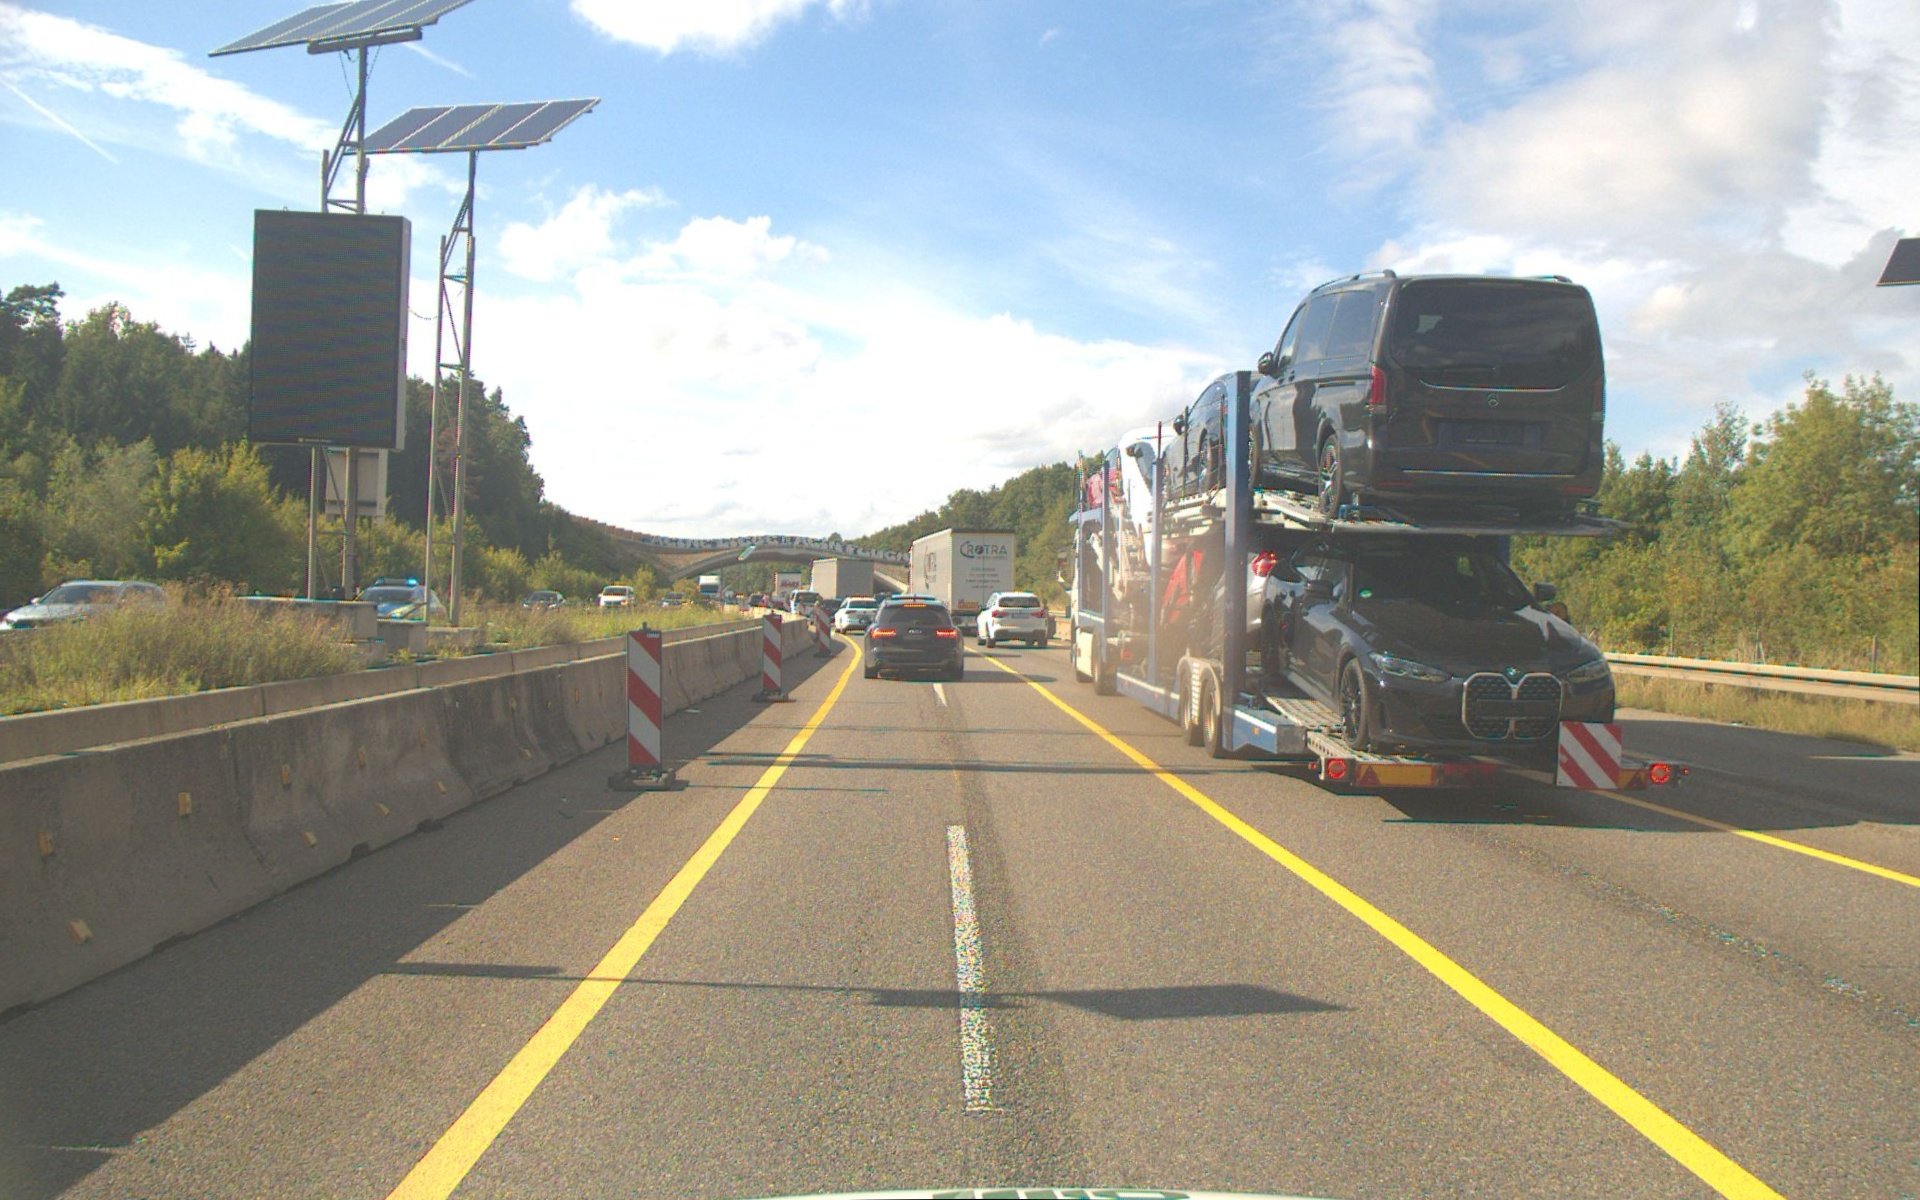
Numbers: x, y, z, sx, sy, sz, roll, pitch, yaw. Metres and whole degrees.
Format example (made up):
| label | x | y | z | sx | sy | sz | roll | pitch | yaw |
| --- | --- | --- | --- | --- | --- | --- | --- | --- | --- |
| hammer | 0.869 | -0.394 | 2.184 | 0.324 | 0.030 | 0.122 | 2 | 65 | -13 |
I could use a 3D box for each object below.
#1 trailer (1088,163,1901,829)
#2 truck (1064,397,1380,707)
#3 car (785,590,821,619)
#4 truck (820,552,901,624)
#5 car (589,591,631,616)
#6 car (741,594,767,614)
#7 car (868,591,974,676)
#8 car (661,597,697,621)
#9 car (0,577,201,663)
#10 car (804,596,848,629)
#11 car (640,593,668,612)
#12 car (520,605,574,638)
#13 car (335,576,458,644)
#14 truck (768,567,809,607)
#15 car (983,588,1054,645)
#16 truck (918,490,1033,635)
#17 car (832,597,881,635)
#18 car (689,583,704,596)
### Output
| label | x | y | z | sx | sy | sz | roll | pitch | yaw |
| --- | --- | --- | --- | --- | --- | --- | --- | --- | --- |
| trailer | 4.130 | -0.669 | 18.889 | 3.651 | 4.269 | 16.222 | 1 | 0 | -1 |
| truck | 3.922 | -0.671 | 27.100 | 3.685 | 4.269 | 7.948 | 1 | 0 | -1 |
| car | -9.576 | 0.272 | 100.627 | 1.855 | 1.672 | 4.009 | 1 | 0 | -9 |
| truck | -7.017 | -0.820 | 114.801 | 4.242 | 4.681 | 11.095 | 1 | 0 | -11 |
| car | -23.307 | 0.237 | 110.384 | 1.929 | 1.630 | 4.945 | 1 | 0 | -3 |
| car | -17.412 | 0.320 | 139.436 | 1.747 | 1.630 | 4.004 | 1 | 0 | -13 |
| car | -0.788 | 0.588 | 31.272 | 1.852 | 1.472 | 3.998 | 1 | 0 | -3 |
| car | -20.300 | 0.622 | 119.593 | 1.929 | 1.630 | 4.945 | 1 | 0 | -3 |
| car | -17.772 | 0.387 | 34.436 | 1.741 | 1.630 | 4.676 | 1 | 0 | 0 |
| car | -7.060 | 0.625 | 86.809 | 1.856 | 1.672 | 4.007 | 1 | 0 | -11 |
| car | -27.598 | 0.221 | 149.242 | 1.929 | 1.630 | 4.943 | 1 | 0 | -4 |
| car | -21.331 | 1.080 | 85.579 | 1.742 | 1.630 | 4.674 | 1 | 0 | -3 |
| car | -14.548 | 0.240 | 42.962 | 1.742 | 1.630 | 4.674 | 1 | 0 | -3 |
| truck | -17.944 | -1.343 | 172.303 | 3.587 | 3.997 | 11.042 | 1 | 0 | -10 |
| car | 1.774 | 0.501 | 51.161 | 1.852 | 1.672 | 4.015 | 1 | 0 | -3 |
| truck | 0.394 | -1.425 | 71.175 | 3.605 | 5.447 | 16.188 | 1 | 0 | -4 |
| car | -4.213 | 0.620 | 66.701 | 1.853 | 1.472 | 3.996 | 1 | 0 | -5 |
| car | -37.754 | -1.493 | 236.625 | 1.745 | 1.899 | 3.997 | 1 | 0 | -4 |
